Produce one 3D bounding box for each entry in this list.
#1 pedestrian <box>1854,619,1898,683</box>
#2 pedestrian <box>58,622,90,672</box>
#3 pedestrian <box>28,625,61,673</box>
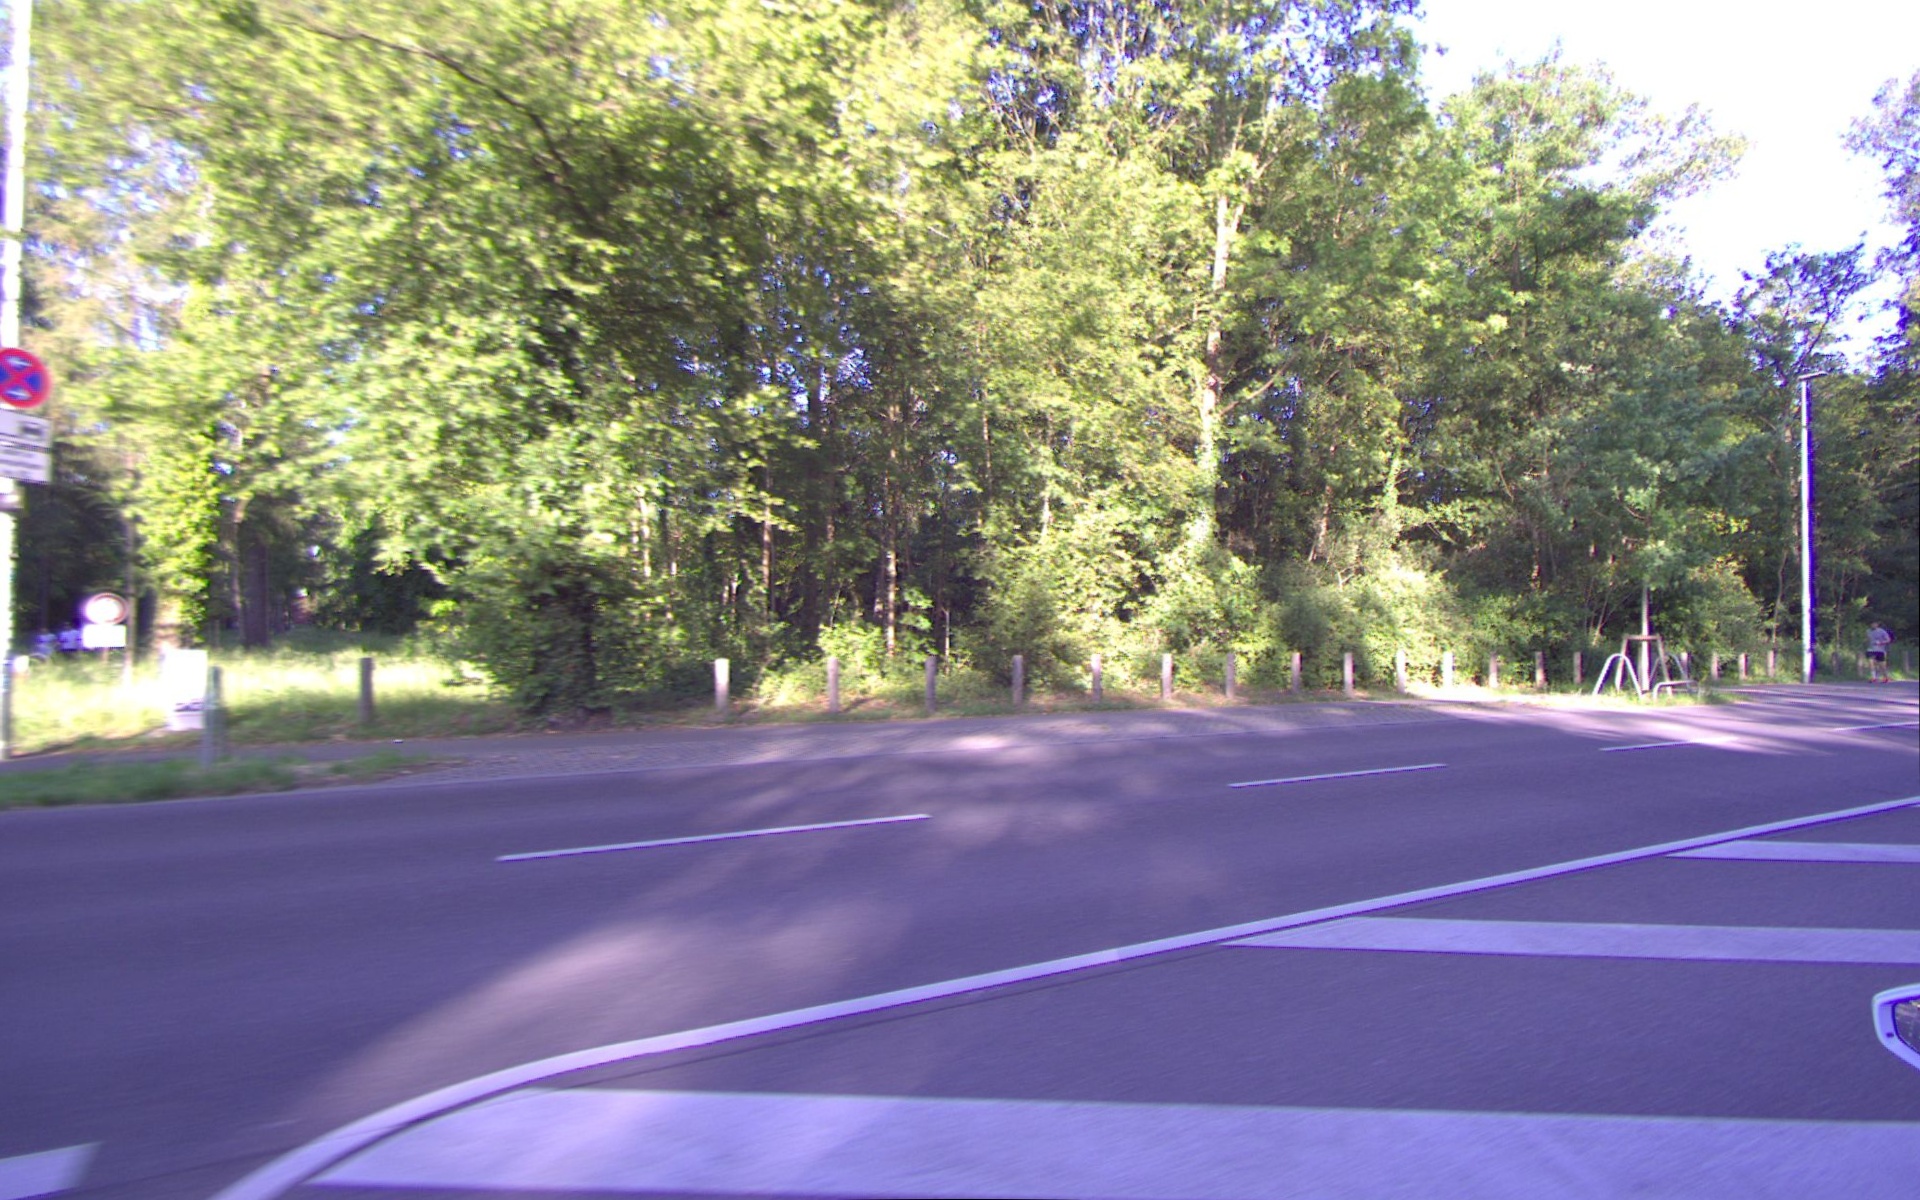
[{"bbox_3d":[26.949,1.493,29.559,0.761,1.836,0.775,1,-1,-31],"label":"pedestrian"},{"bbox_3d":[-30.908,1.641,35.044,0.707,1.704,0.541,1,-1,-30],"label":"pedestrian"},{"bbox_3d":[-31.576,1.668,34.665,0.707,1.632,0.541,1,-1,-30],"label":"pedestrian"}]
